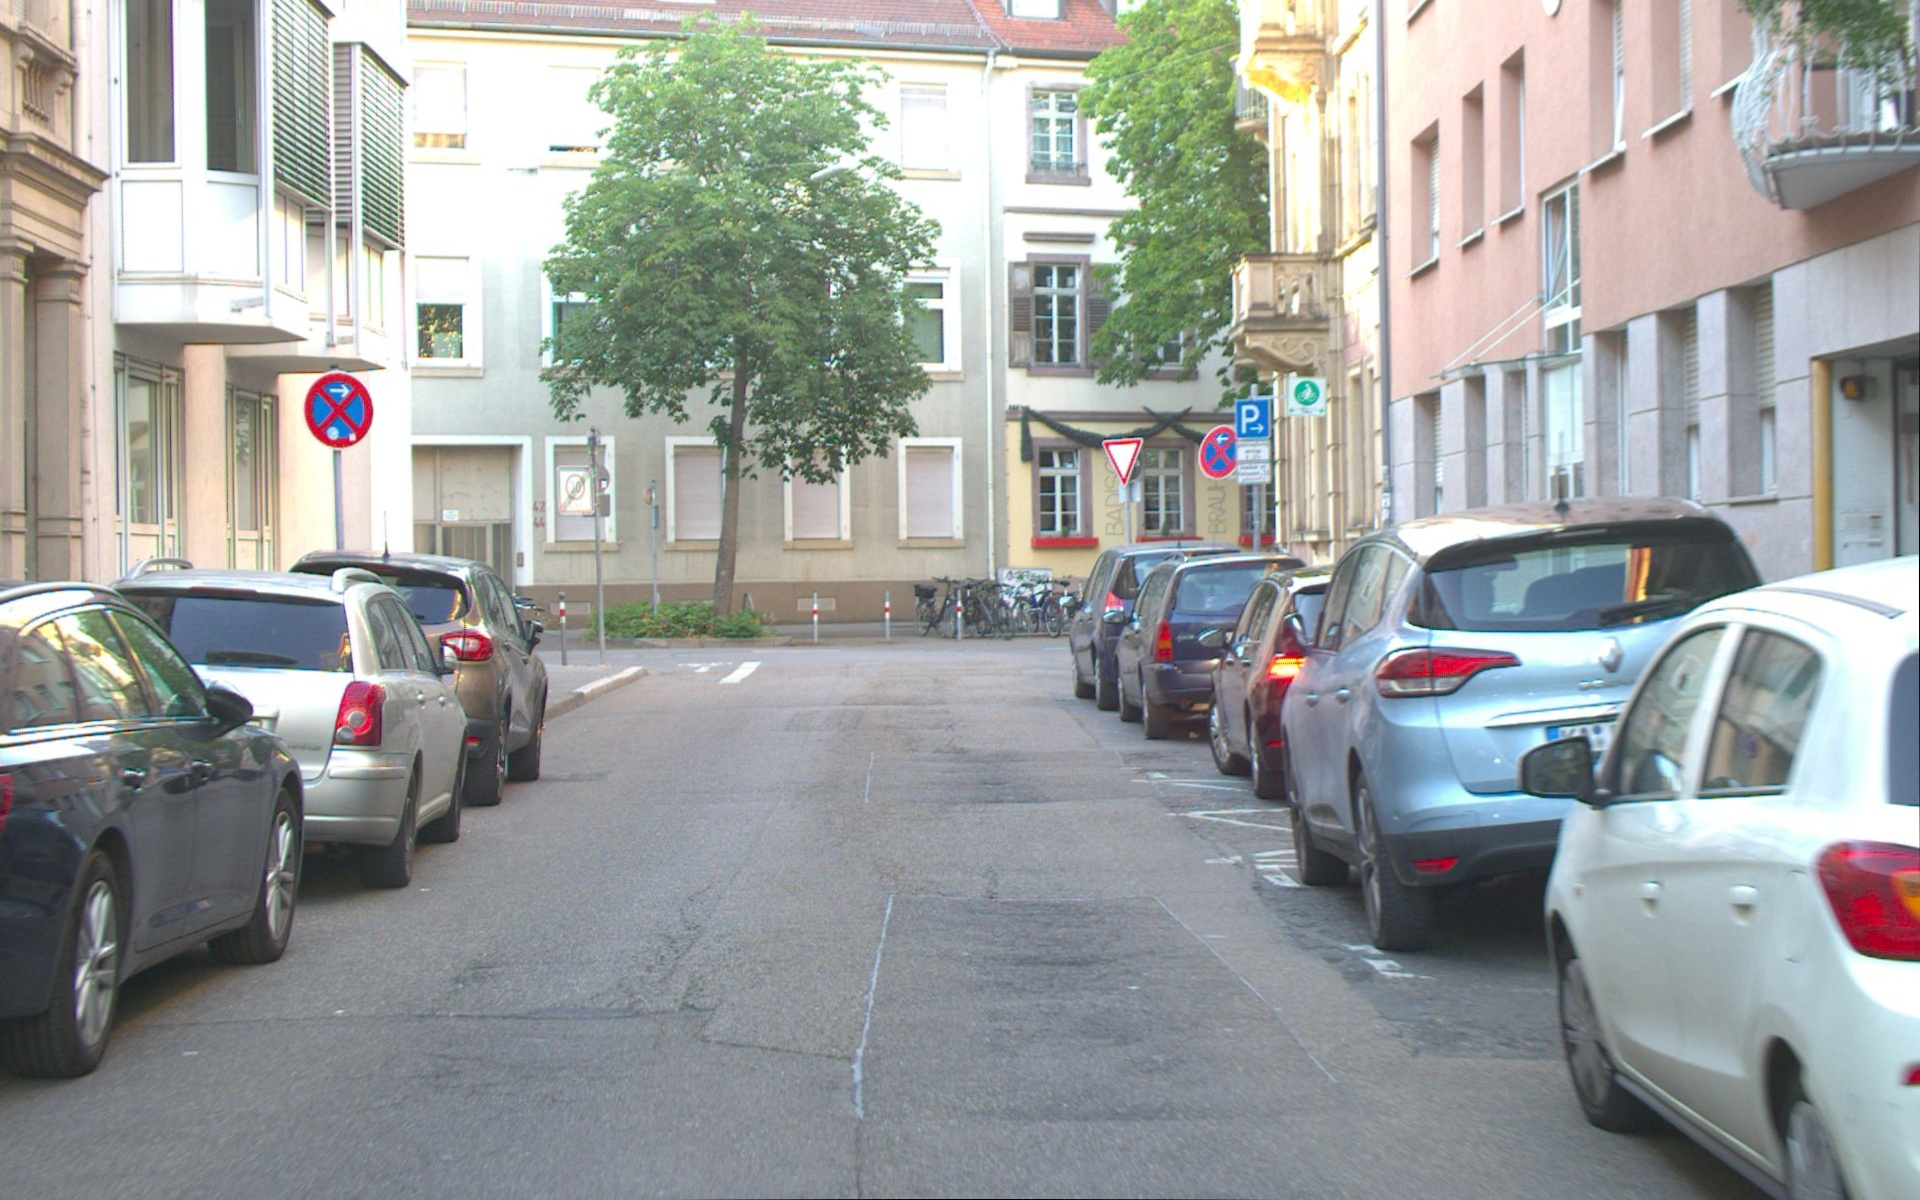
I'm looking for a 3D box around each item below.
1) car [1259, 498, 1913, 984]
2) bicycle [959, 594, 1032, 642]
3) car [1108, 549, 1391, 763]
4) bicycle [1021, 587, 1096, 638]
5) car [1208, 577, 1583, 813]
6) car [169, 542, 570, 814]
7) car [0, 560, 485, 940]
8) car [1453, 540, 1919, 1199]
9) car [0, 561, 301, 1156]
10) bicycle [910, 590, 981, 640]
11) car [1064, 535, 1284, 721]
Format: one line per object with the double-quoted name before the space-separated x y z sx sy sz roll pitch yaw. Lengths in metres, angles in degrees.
"car" 2.425 0.489 14.380 1.993 1.726 4.059 -1 0 0
"bicycle" 0.667 0.339 65.440 0.518 0.891 1.725 0 -1 -33
"car" 2.440 0.435 29.929 1.993 1.703 4.000 -1 1 -2
"bicycle" 1.891 0.248 66.108 0.518 0.945 1.725 -2 1 -33
"car" 2.759 0.560 22.578 1.993 1.379 3.706 -1 1 0
"car" -3.900 0.465 23.390 1.993 1.657 3.977 -1 1 0
"car" -3.574 0.640 17.425 1.993 1.661 4.410 -1 1 -4
"car" 2.324 0.643 7.883 1.662 1.454 3.759 -7 1 0
"car" -3.385 0.678 11.341 1.614 1.565 4.304 -1 1 -1
"bicycle" -0.286 0.288 66.906 0.518 0.945 1.725 0 -1 -33
"car" 2.117 0.248 35.023 1.993 1.755 4.000 -1 1 0
